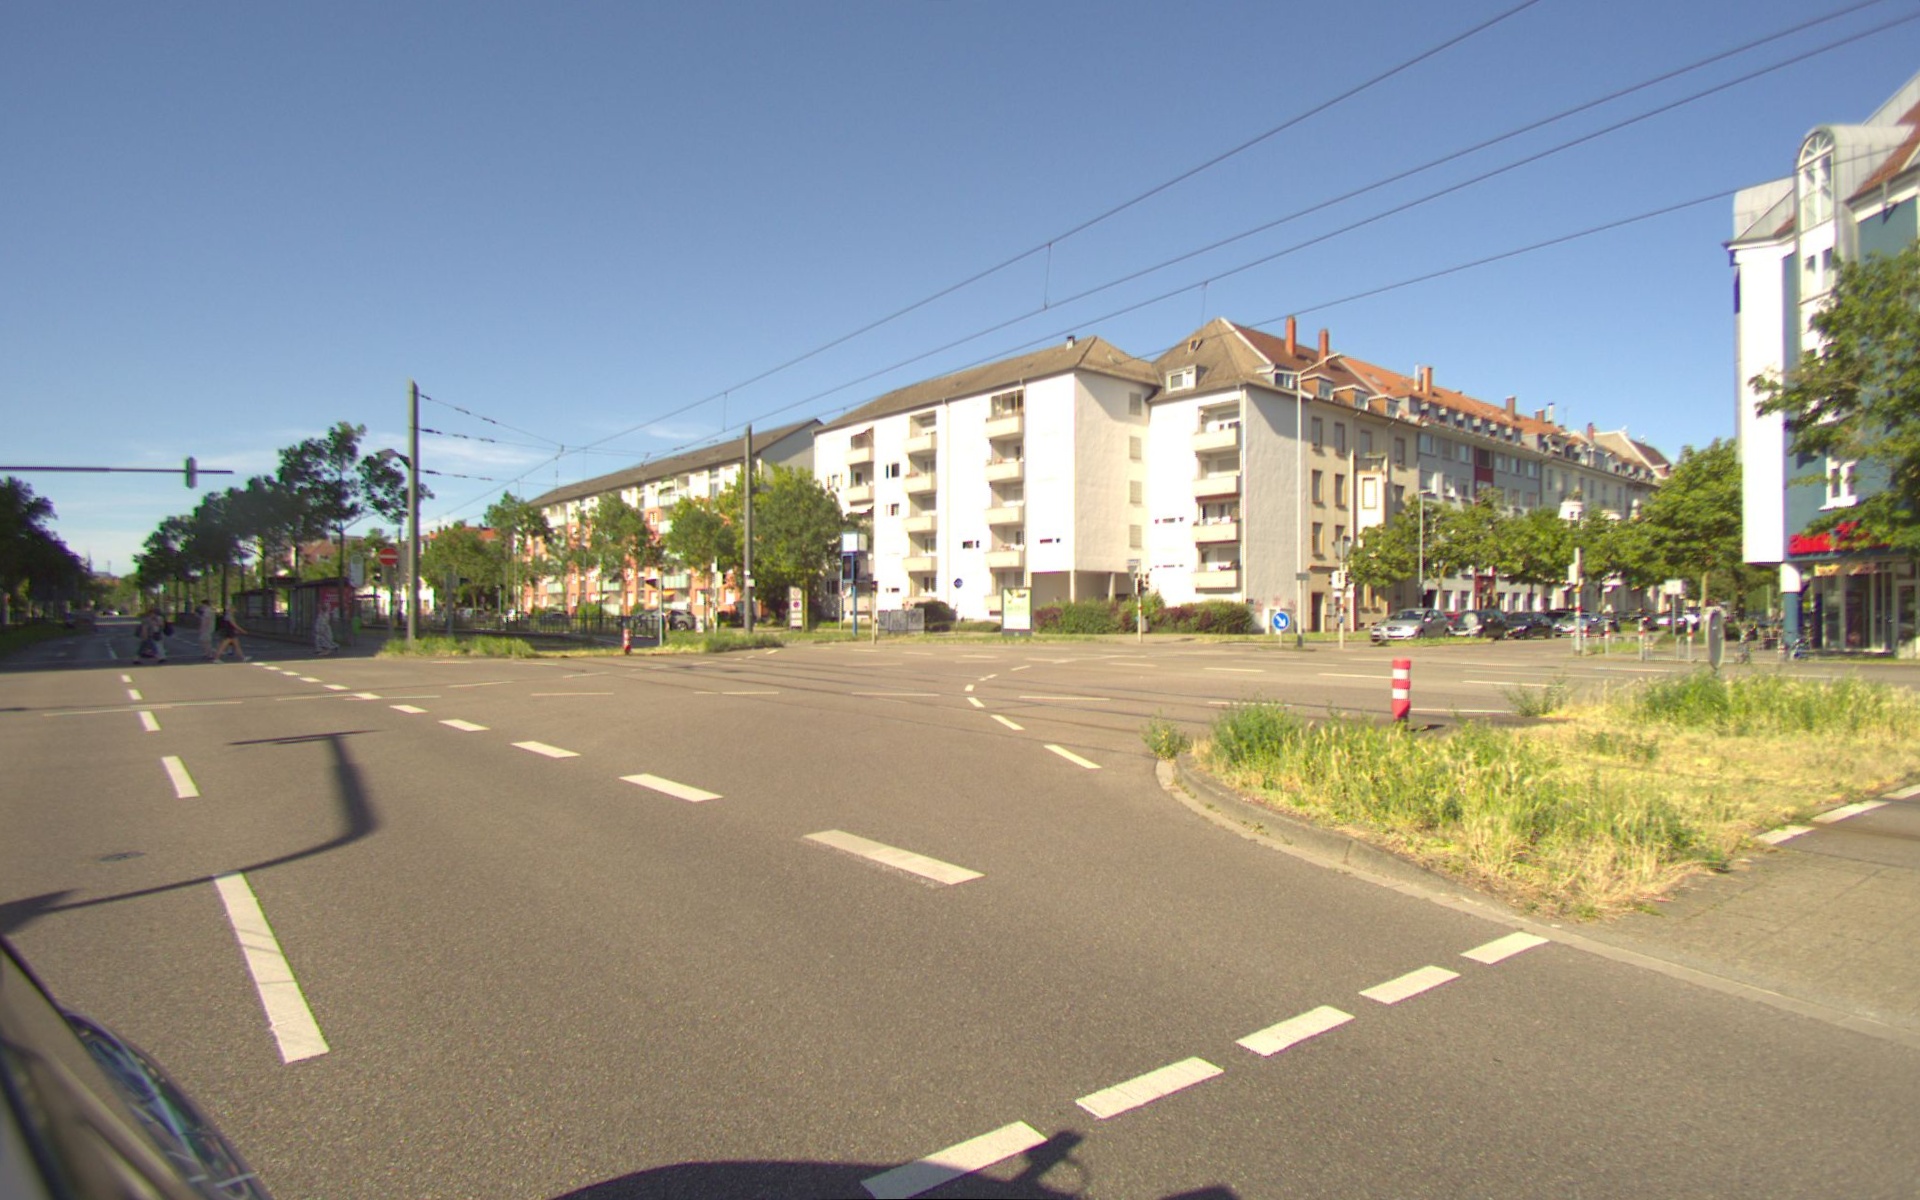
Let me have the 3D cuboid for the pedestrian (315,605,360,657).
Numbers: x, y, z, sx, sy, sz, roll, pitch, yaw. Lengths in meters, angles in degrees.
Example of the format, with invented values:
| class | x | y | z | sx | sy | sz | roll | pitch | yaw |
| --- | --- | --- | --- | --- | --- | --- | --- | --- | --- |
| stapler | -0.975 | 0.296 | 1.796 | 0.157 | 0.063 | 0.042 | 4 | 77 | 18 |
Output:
| class | x | y | z | sx | sy | sz | roll | pitch | yaw |
| --- | --- | --- | --- | --- | --- | --- | --- | --- | --- |
| pedestrian | -21.182 | 1.060 | 34.463 | 0.802 | 1.740 | 1.154 | 0 | -1 | 1 |

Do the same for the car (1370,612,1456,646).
| class | x | y | z | sx | sy | sz | roll | pitch | yaw |
| --- | --- | --- | --- | --- | --- | --- | --- | --- | --- |
| car | 20.841 | 1.304 | 46.503 | 4.328 | 1.442 | 1.697 | 1 | 1 | -38 |

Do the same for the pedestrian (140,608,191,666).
| class | x | y | z | sx | sy | sz | roll | pitch | yaw |
| --- | --- | --- | --- | --- | --- | --- | --- | --- | --- |
| pedestrian | -24.667 | 1.134 | 31.432 | 0.813 | 1.740 | 1.137 | -2 | -2 | 44 |

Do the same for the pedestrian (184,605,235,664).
| class | x | y | z | sx | sy | sz | roll | pitch | yaw |
| --- | --- | --- | --- | --- | --- | --- | --- | --- | --- |
| pedestrian | -23.372 | 1.070 | 31.537 | 0.924 | 1.784 | 1.137 | -2 | -2 | 44 |

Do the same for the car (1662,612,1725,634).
| class | x | y | z | sx | sy | sz | roll | pitch | yaw |
| --- | --- | --- | --- | --- | --- | --- | --- | --- | --- |
| car | 69.014 | 2.152 | 95.293 | 1.970 | 2.029 | 4.524 | 2 | -1 | -43 |

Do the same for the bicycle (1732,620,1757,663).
| class | x | y | z | sx | sy | sz | roll | pitch | yaw |
| --- | --- | --- | --- | --- | --- | --- | --- | --- | --- |
| bicycle | 19.700 | 1.035 | 25.419 | 0.472 | 1.035 | 1.497 | -1 | -1 | 38 |

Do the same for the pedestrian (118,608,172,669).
| class | x | y | z | sx | sy | sz | roll | pitch | yaw |
| --- | --- | --- | --- | --- | --- | --- | --- | --- | --- |
| pedestrian | -23.815 | 1.096 | 29.562 | 0.813 | 1.740 | 1.137 | -2 | -2 | 44 |

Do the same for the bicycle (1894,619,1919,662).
| class | x | y | z | sx | sy | sz | roll | pitch | yaw |
| --- | --- | --- | --- | --- | --- | --- | --- | --- | --- |
| bicycle | 23.543 | 0.968 | 24.322 | 0.465 | 1.035 | 1.521 | 0 | -1 | -30 |

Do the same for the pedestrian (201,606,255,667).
| class | x | y | z | sx | sy | sz | roll | pitch | yaw |
| --- | --- | --- | --- | --- | --- | --- | --- | --- | --- |
| pedestrian | -21.202 | 1.041 | 29.330 | 0.813 | 1.740 | 1.137 | -2 | -2 | 44 |

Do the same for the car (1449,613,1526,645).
| class | x | y | z | sx | sy | sz | roll | pitch | yaw |
| --- | --- | --- | --- | --- | --- | --- | --- | --- | --- |
| car | 26.204 | 1.433 | 50.232 | 4.328 | 1.442 | 1.697 | 1 | 1 | -37 |

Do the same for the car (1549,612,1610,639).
| class | x | y | z | sx | sy | sz | roll | pitch | yaw |
| --- | --- | --- | --- | --- | --- | --- | --- | --- | --- |
| car | 36.743 | 1.502 | 59.962 | 4.329 | 1.442 | 1.697 | 1 | 1 | -39 |

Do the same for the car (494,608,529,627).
| class | x | y | z | sx | sy | sz | roll | pitch | yaw |
| --- | --- | --- | --- | --- | --- | --- | --- | --- | --- |
| car | -44.194 | 1.754 | 99.664 | 1.970 | 1.863 | 4.004 | 1 | -1 | -43 |

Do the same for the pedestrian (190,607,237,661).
| class | x | y | z | sx | sy | sz | roll | pitch | yaw |
| --- | --- | --- | --- | --- | --- | --- | --- | --- | --- |
| pedestrian | -24.569 | 1.121 | 33.323 | 0.813 | 1.740 | 1.137 | -2 | -2 | 44 |

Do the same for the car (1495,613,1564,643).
| class | x | y | z | sx | sy | sz | roll | pitch | yaw |
| --- | --- | --- | --- | --- | --- | --- | --- | --- | --- |
| car | 30.499 | 1.485 | 54.180 | 4.329 | 1.442 | 1.697 | 1 | 1 | -39 |

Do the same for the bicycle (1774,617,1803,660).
| class | x | y | z | sx | sy | sz | roll | pitch | yaw |
| --- | --- | --- | --- | --- | --- | --- | --- | --- | --- |
| bicycle | 20.586 | 0.944 | 25.165 | 0.472 | 1.035 | 1.497 | -1 | -1 | 37 |

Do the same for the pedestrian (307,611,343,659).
| class | x | y | z | sx | sy | sz | roll | pitch | yaw |
| --- | --- | --- | --- | --- | --- | --- | --- | --- | --- |
| pedestrian | -20.749 | 1.145 | 33.089 | 0.726 | 1.545 | 0.846 | -2 | -2 | 44 |

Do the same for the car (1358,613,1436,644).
| class | x | y | z | sx | sy | sz | roll | pitch | yaw |
| --- | --- | --- | --- | --- | --- | --- | --- | --- | --- |
| car | 21.807 | 1.399 | 50.441 | 4.329 | 1.442 | 1.697 | 1 | 1 | -39 |

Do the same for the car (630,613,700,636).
| class | x | y | z | sx | sy | sz | roll | pitch | yaw |
| --- | --- | --- | --- | --- | --- | --- | --- | --- | --- |
| car | -20.219 | 1.681 | 69.406 | 4.335 | 1.442 | 1.694 | 2 | 1 | -2 |

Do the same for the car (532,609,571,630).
| class | x | y | z | sx | sy | sz | roll | pitch | yaw |
| --- | --- | --- | --- | --- | --- | --- | --- | --- | --- |
| car | -37.097 | 1.741 | 91.852 | 1.970 | 1.863 | 4.004 | 1 | -1 | -43 |

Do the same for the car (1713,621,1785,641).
| class | x | y | z | sx | sy | sz | roll | pitch | yaw |
| --- | --- | --- | --- | --- | --- | --- | --- | --- | --- |
| car | 52.684 | 2.082 | 67.599 | 1.705 | 1.232 | 3.583 | 2 | -1 | -43 |
